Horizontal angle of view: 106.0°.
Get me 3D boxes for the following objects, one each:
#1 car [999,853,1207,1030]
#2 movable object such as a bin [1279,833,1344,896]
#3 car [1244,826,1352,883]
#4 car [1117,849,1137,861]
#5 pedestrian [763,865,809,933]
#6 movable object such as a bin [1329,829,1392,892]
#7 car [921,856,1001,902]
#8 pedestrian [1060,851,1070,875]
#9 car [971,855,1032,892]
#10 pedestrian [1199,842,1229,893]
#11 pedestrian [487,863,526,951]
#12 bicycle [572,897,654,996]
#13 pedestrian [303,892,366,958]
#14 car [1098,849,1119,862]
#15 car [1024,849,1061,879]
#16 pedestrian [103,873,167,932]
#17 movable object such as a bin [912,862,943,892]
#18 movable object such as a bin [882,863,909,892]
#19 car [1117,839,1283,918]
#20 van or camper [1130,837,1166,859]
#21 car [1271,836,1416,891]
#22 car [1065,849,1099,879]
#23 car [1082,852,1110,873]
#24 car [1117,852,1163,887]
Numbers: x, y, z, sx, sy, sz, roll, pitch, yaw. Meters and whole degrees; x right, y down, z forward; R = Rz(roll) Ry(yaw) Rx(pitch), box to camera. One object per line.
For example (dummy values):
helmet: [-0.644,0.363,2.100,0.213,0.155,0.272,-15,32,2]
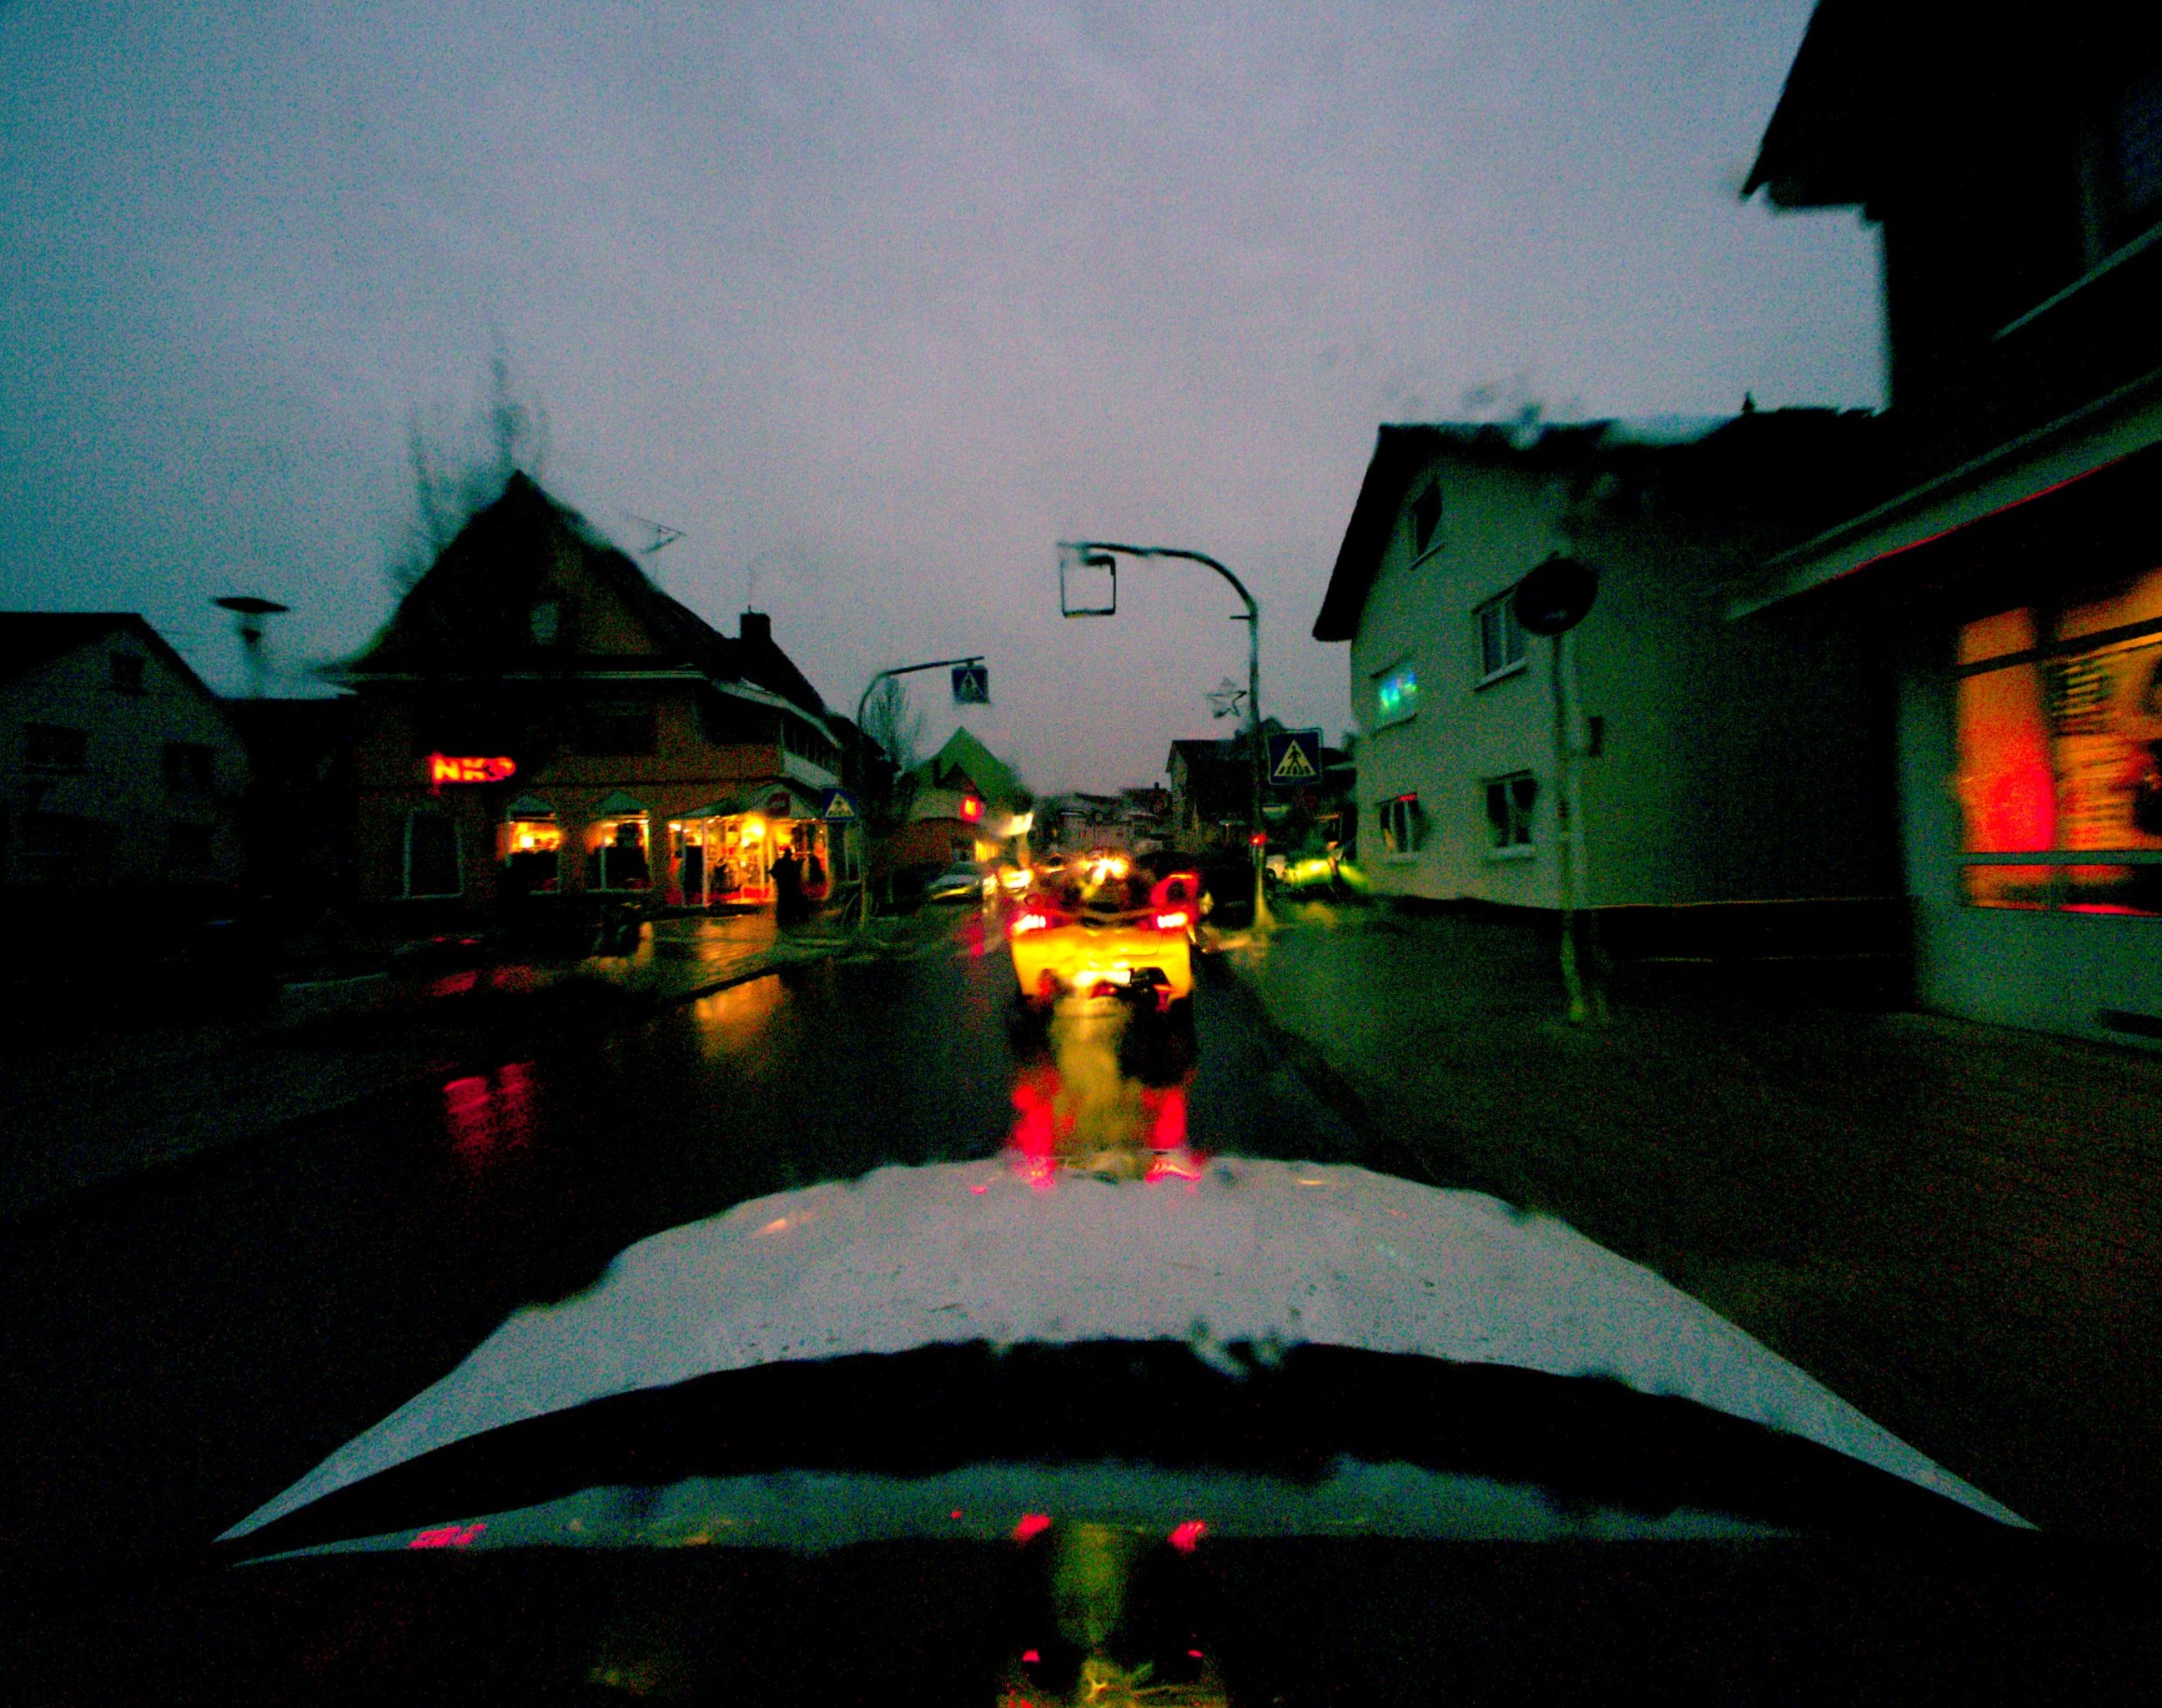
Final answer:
car: [0.326,0.775,9.118,1.806,1.533,4.004,-1,0,4]
movable object such as a bin: [6.491,0.288,23.005,1.388,1.644,1.262,-4,0,1]
car: [8.842,0.020,33.479,4.064,2.049,2.007,-4,0,11]
car: [6.973,0.158,122.765,1.994,1.610,4.158,-4,-1,-11]
pedestrian: [-7.470,1.110,20.666,0.824,1.658,1.096,0,0,-4]
movable object such as a bin: [7.843,0.174,22.908,1.281,1.644,1.185,-4,0,1]
car: [-4.410,0.882,30.667,1.984,1.558,4.626,-1,0,4]
pedestrian: [-1.074,0.615,54.652,0.572,1.585,0.530,-2,1,2]
car: [-3.606,0.855,37.899,1.985,1.522,4.983,-2,0,4]
pedestrian: [5.017,0.515,30.793,0.963,1.889,1.006,-1,-1,1]
pedestrian: [-13.700,1.237,19.416,0.740,2.014,0.817,0,-1,-37]
bicycle: [-6.170,1.175,10.814,0.324,1.061,1.737,-7,2,-13]
pedestrian: [-14.868,1.397,16.228,0.815,1.245,0.691,0,0,29]
car: [4.107,0.271,122.545,1.996,1.765,4.331,-4,1,-13]
car: [-2.368,0.584,51.050,2.079,1.792,5.022,-1,0,-1]
pedestrian: [-28.522,1.448,24.574,0.917,1.715,0.838,-1,0,-10]
movable object such as a bin: [-7.538,1.112,40.026,1.338,1.354,0.887,-5,-1,-6]
movable object such as a bin: [-9.072,1.154,39.900,1.149,1.354,0.849,-1,0,-7]
car: [2.859,0.508,18.910,1.973,1.625,4.025,-1,0,40]
van or camper: [10.085,-0.895,123.395,2.659,3.047,6.690,-5,1,-19]
car: [8.100,0.310,25.437,3.966,1.486,1.916,-3,-1,6]
car: [0.124,0.604,52.710,1.986,1.705,4.969,1,1,2]
car: [1.281,0.703,72.061,1.949,1.546,4.408,1,2,-6]
car: [2.792,0.716,39.364,1.987,1.588,4.000,-1,0,0]
